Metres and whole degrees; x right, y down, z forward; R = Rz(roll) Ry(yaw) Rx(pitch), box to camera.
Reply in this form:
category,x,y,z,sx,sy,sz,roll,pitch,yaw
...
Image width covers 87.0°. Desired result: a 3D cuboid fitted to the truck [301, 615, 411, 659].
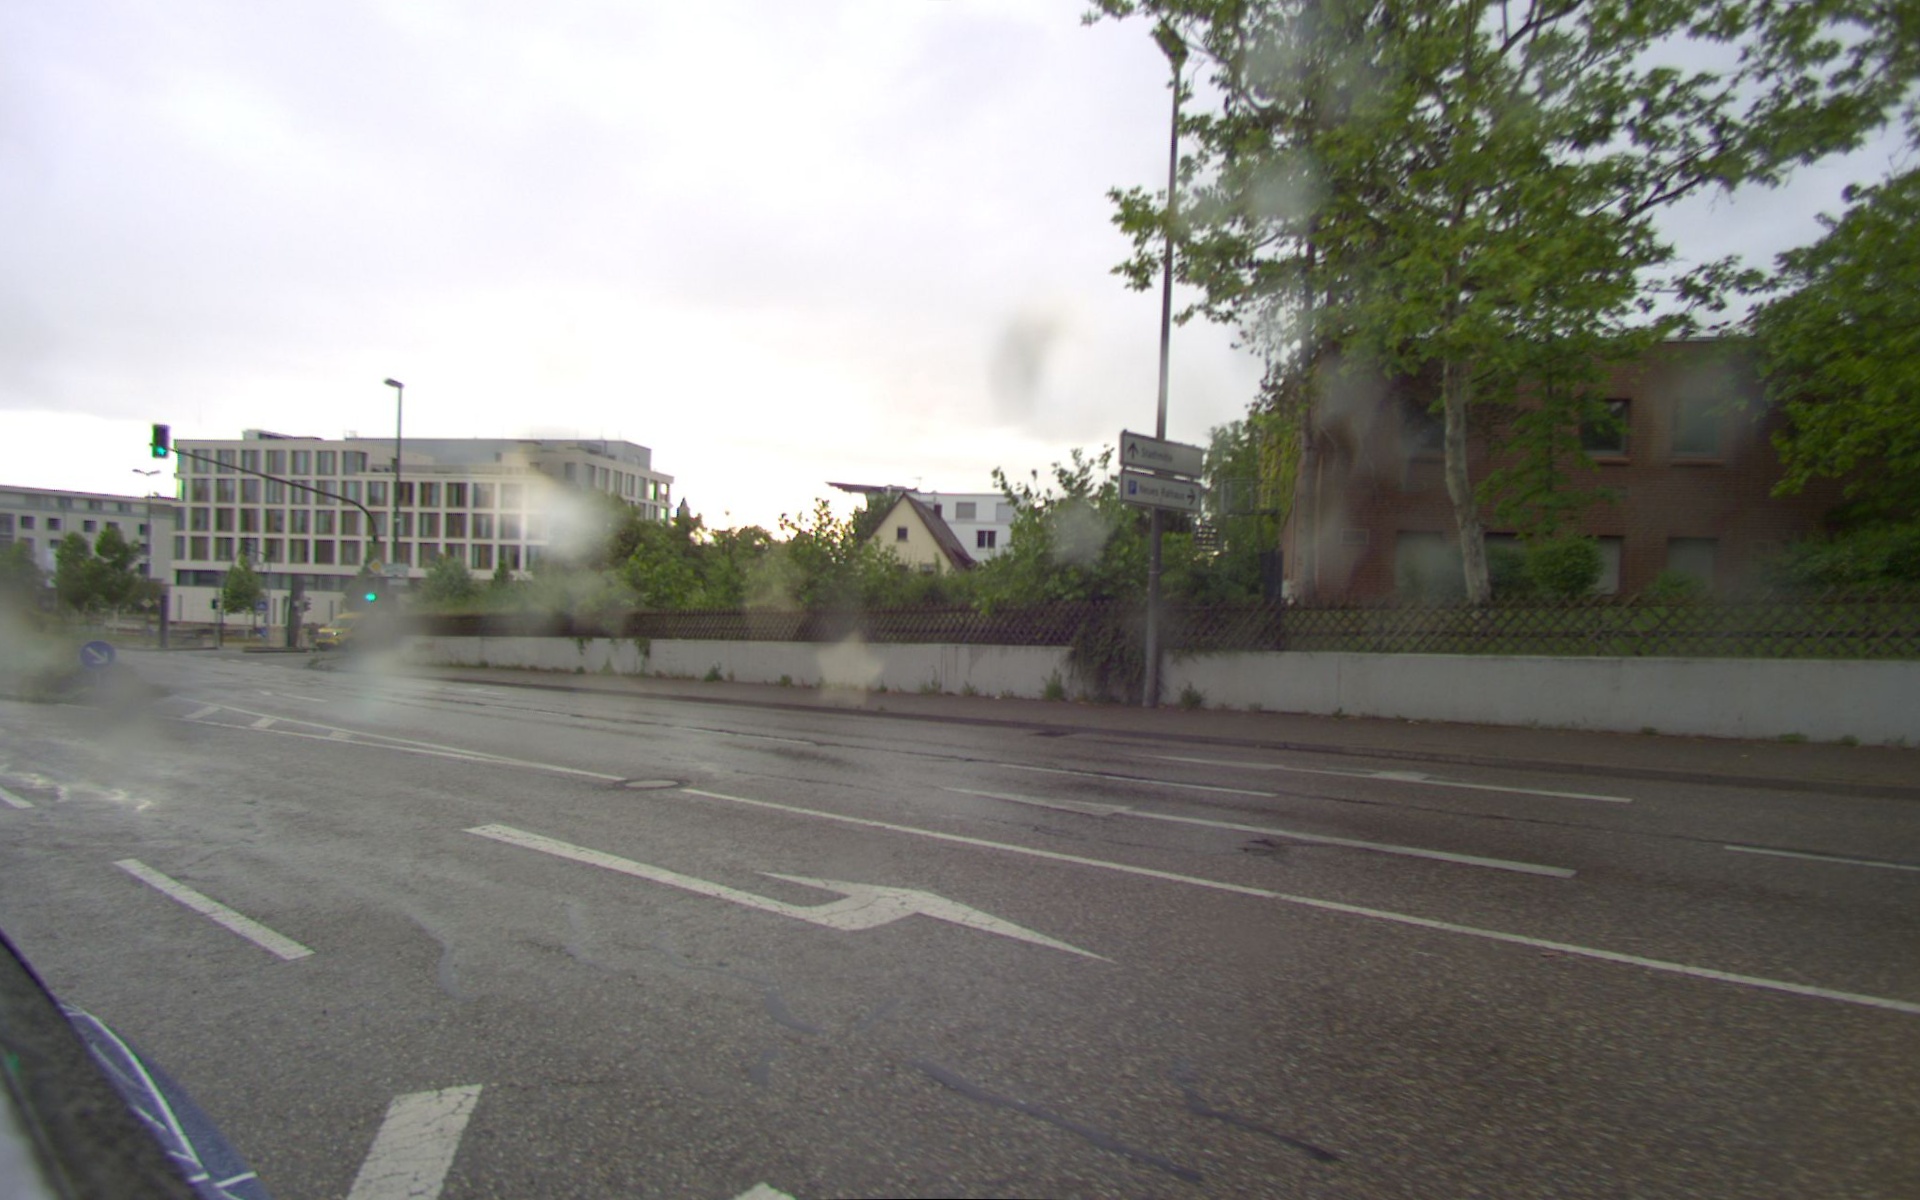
category,x,y,z,sx,sy,sz,roll,pitch,yaw
truck,-37.799,2.341,63.561,2.207,2.557,6.147,1,-2,14
